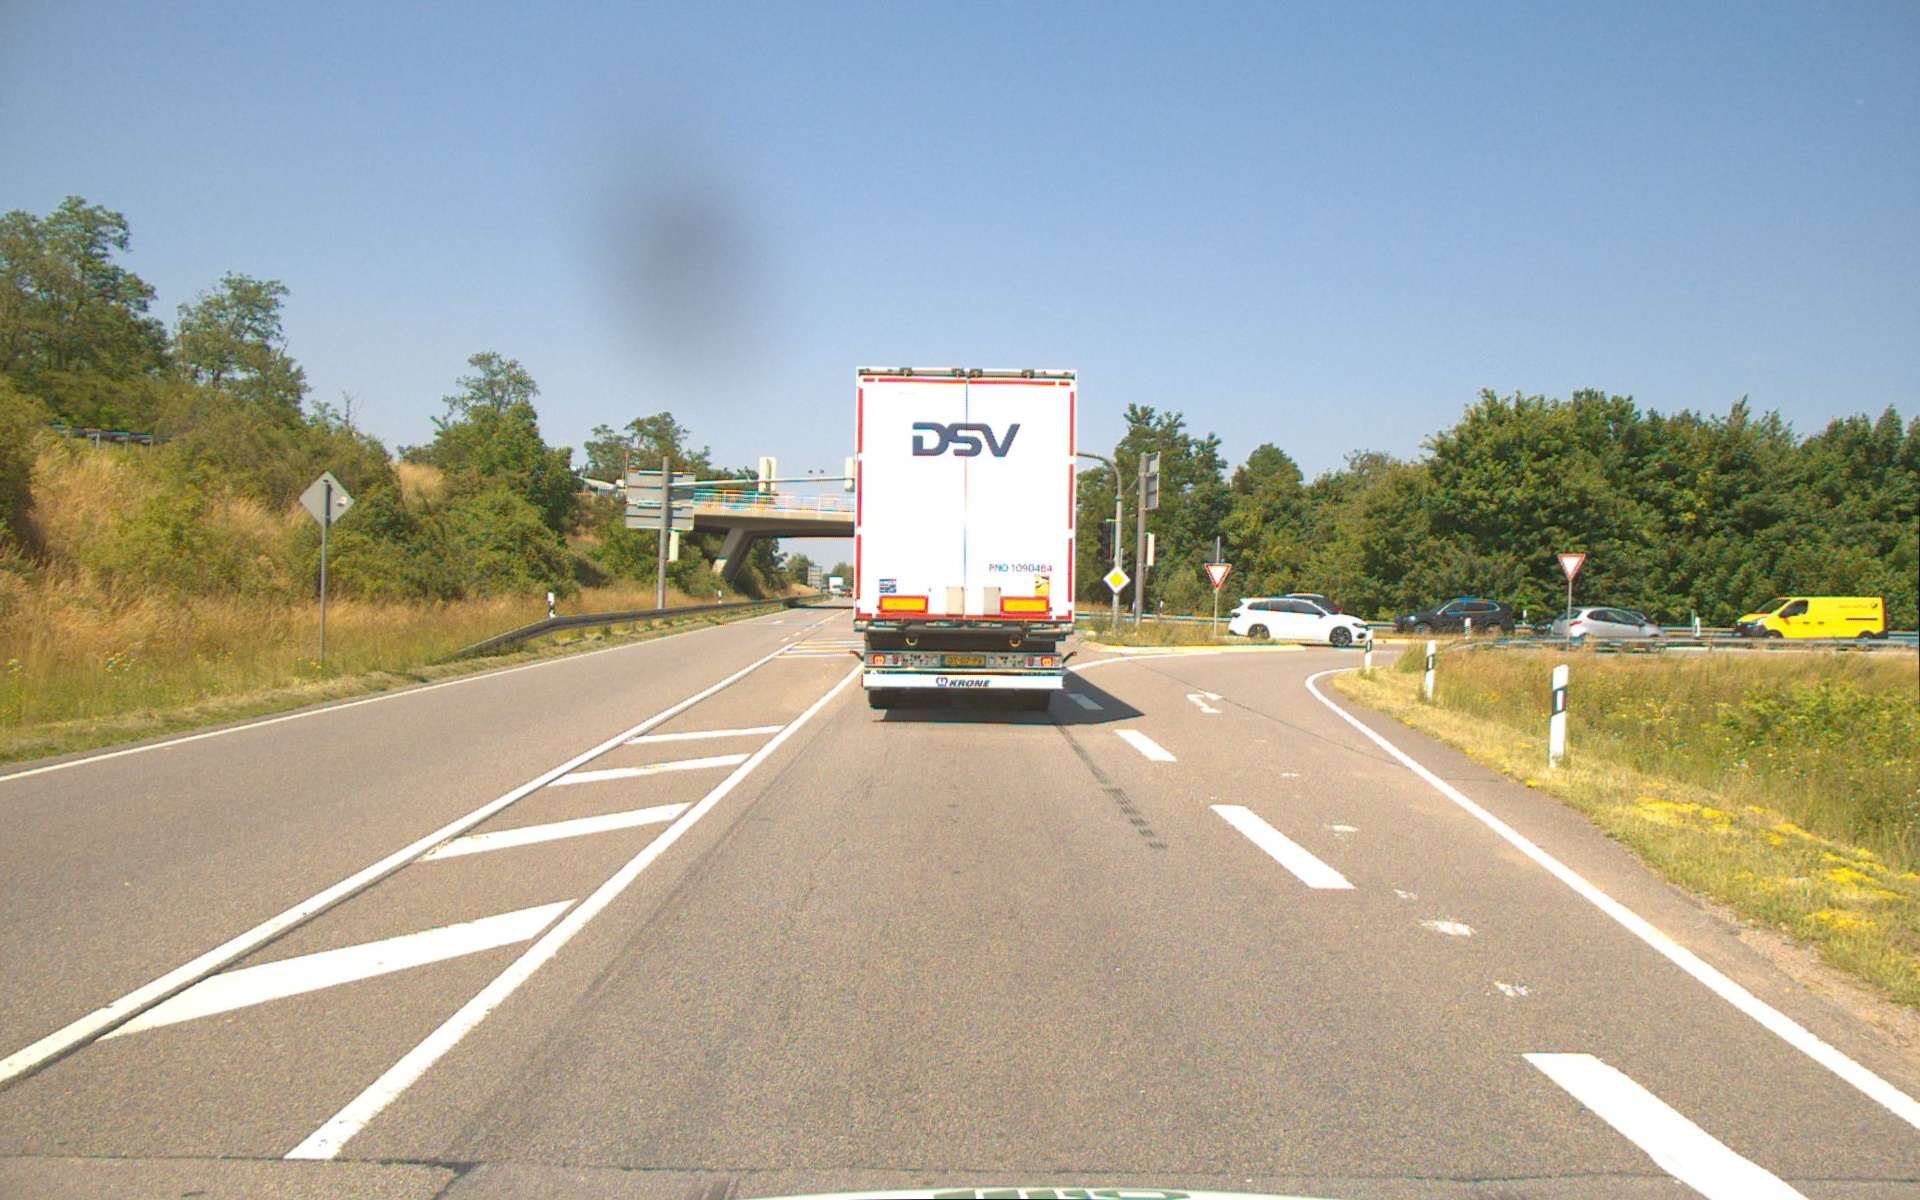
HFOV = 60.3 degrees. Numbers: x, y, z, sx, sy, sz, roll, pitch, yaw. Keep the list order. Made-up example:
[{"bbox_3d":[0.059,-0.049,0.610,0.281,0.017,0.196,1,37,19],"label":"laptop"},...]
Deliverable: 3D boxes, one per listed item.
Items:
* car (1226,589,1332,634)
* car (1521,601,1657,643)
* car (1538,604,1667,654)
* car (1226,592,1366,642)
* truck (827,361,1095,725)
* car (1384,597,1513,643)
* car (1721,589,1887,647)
[{"bbox_3d":[12.402,0.433,64.514,3.901,1.668,1.842,1,0,5],"label":"car"},{"bbox_3d":[24.238,0.838,63.887,4.583,1.540,1.854,1,0,7],"label":"car"},{"bbox_3d":[21.304,0.957,54.887,3.613,1.594,1.736,1,0,-9],"label":"car"},{"bbox_3d":[10.906,0.550,53.681,4.373,1.594,1.741,0,0,13],"label":"car"},{"bbox_3d":[-0.037,-0.637,23.395,2.927,4.011,9.874,1,0,-1],"label":"truck"},{"bbox_3d":[18.420,0.748,62.484,4.393,1.626,1.768,1,0,2],"label":"car"},{"bbox_3d":[31.628,0.684,62.098,5.212,2.049,2.000,1,0,1],"label":"car"}]
